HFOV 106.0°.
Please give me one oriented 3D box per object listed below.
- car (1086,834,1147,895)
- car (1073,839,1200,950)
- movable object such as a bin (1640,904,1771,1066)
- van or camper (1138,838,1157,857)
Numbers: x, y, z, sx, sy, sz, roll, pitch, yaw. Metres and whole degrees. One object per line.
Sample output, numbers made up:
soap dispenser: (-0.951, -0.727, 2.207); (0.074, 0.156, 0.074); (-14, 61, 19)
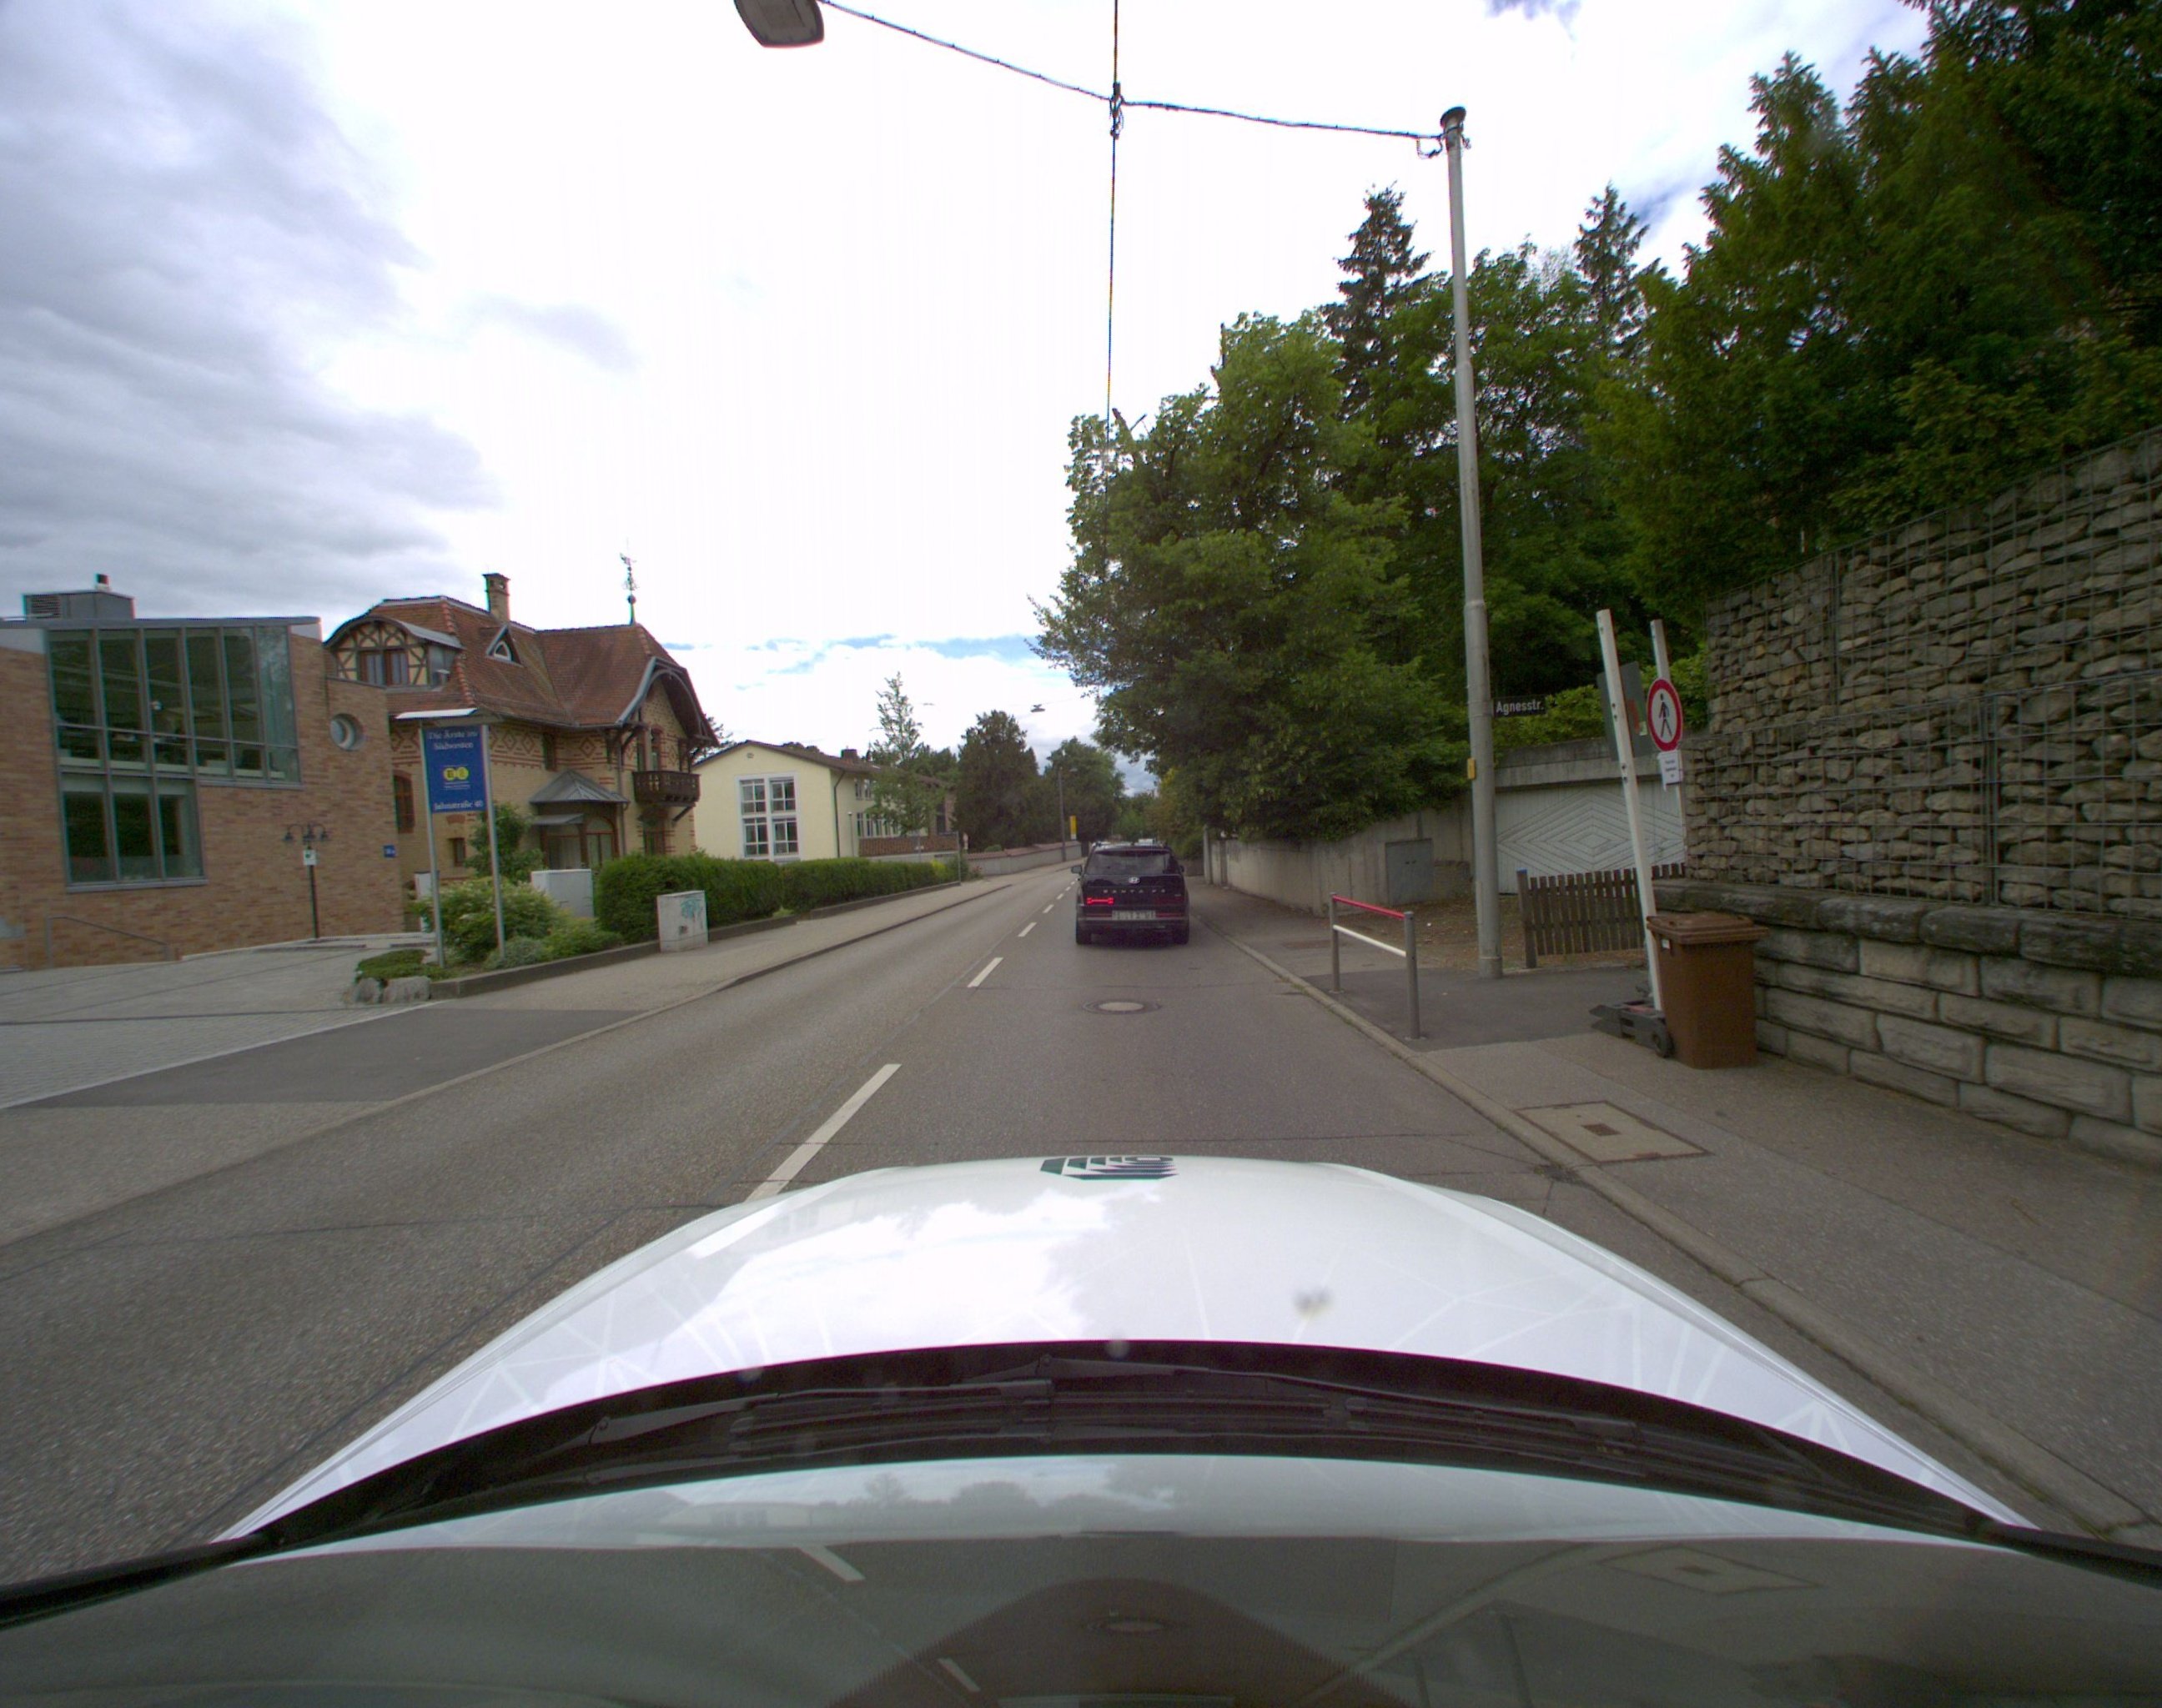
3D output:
car: (1.348, 0.292, 29.140); (1.947, 1.955, 4.231); (-1, 2, 5)
car: (0.937, 0.610, 14.790); (1.950, 1.713, 4.225); (-1, 0, 2)
movable object such as a bin: (3.880, 0.802, 5.083); (0.442, 0.910, 0.395); (-6, -1, 10)
van or camper: (7.477, -0.748, 91.186); (1.665, 2.007, 3.949); (-3, 2, 10)
